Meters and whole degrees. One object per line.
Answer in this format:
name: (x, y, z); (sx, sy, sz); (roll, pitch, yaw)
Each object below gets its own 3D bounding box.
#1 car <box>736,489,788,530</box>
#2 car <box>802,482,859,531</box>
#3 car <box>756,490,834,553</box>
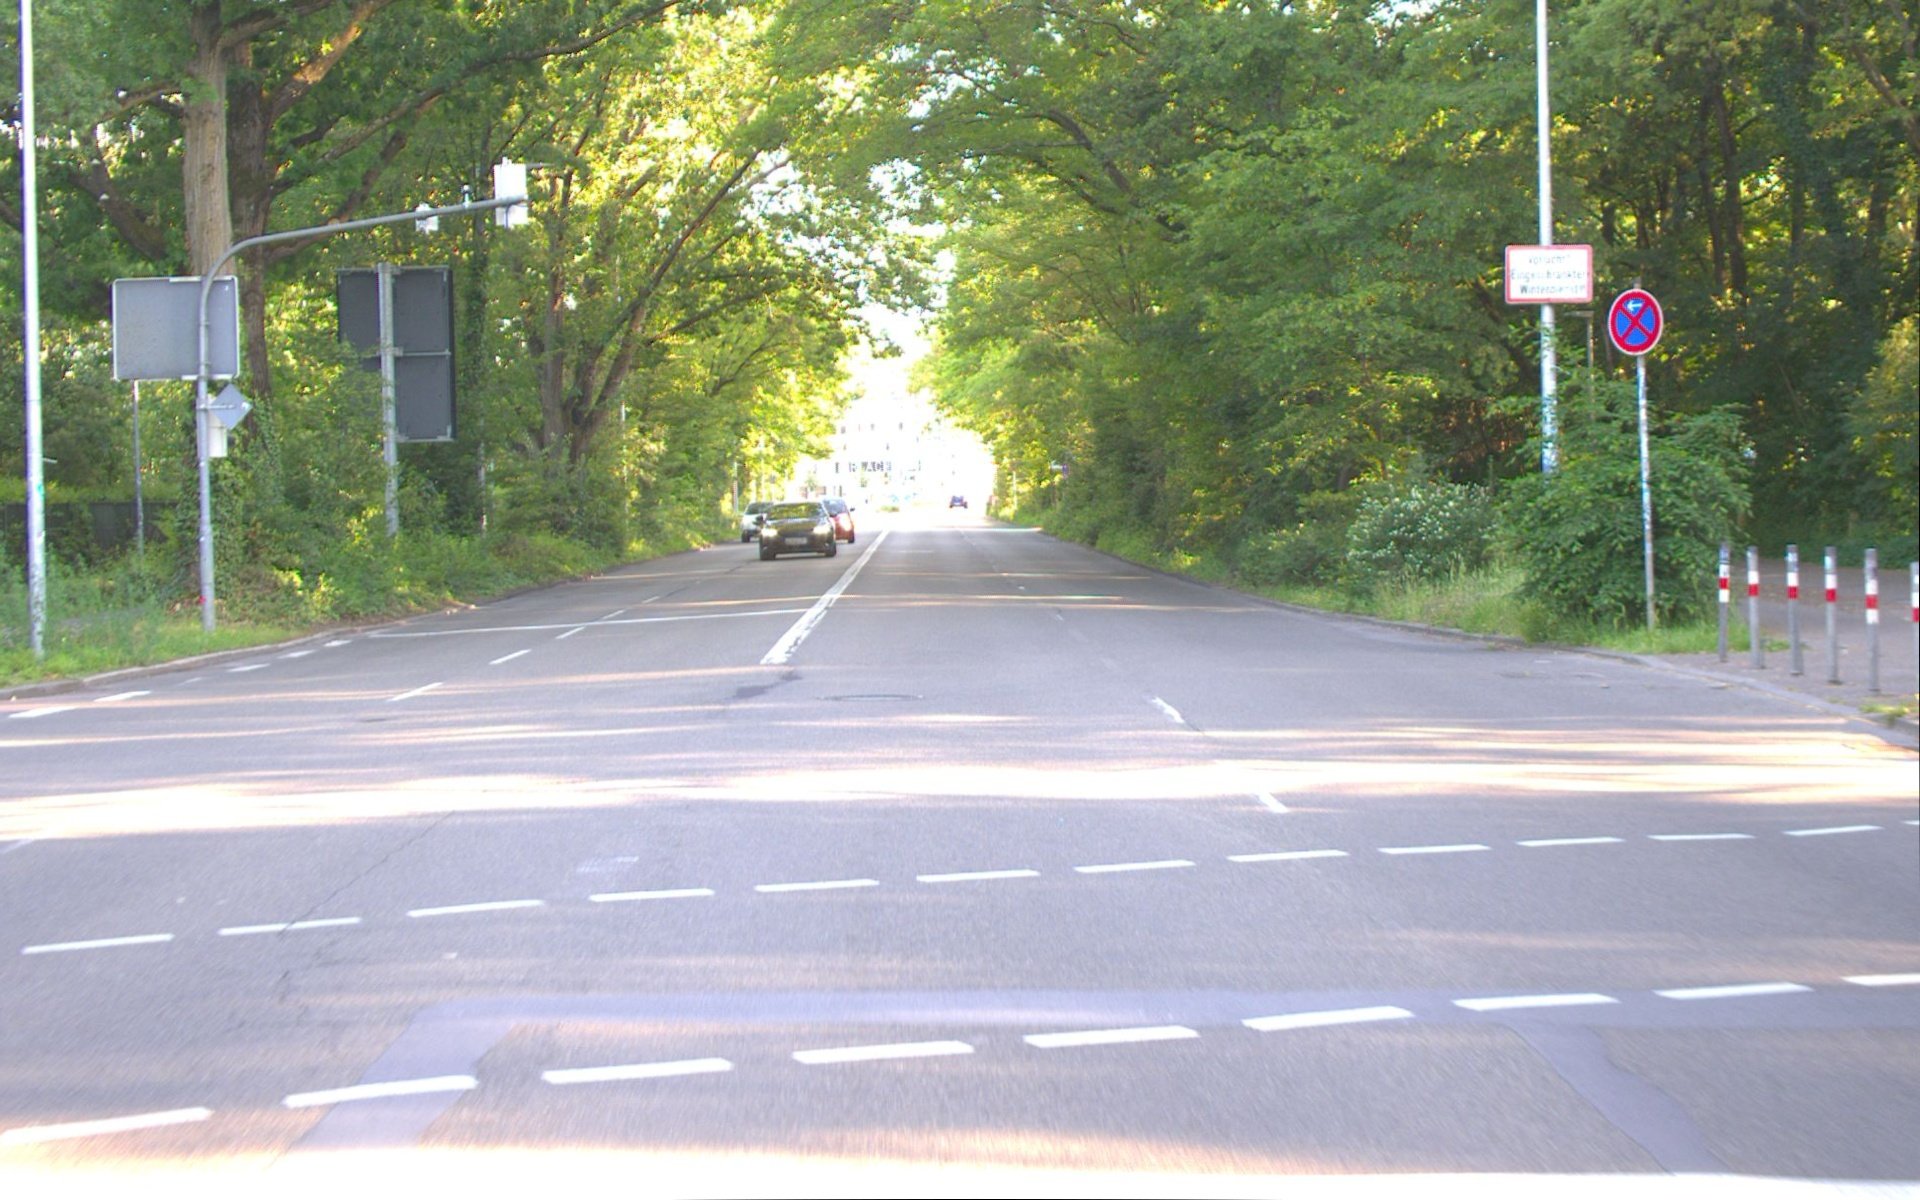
car: (-7.527, -3.467, 131.146); (1.797, 1.501, 4.365); (-2, 2, -1)
car: (-4.230, -3.079, 112.821); (1.797, 1.501, 4.365); (-2, 2, -1)
car: (-4.240, -2.051, 88.961); (1.887, 1.501, 4.365); (-2, 2, -1)
